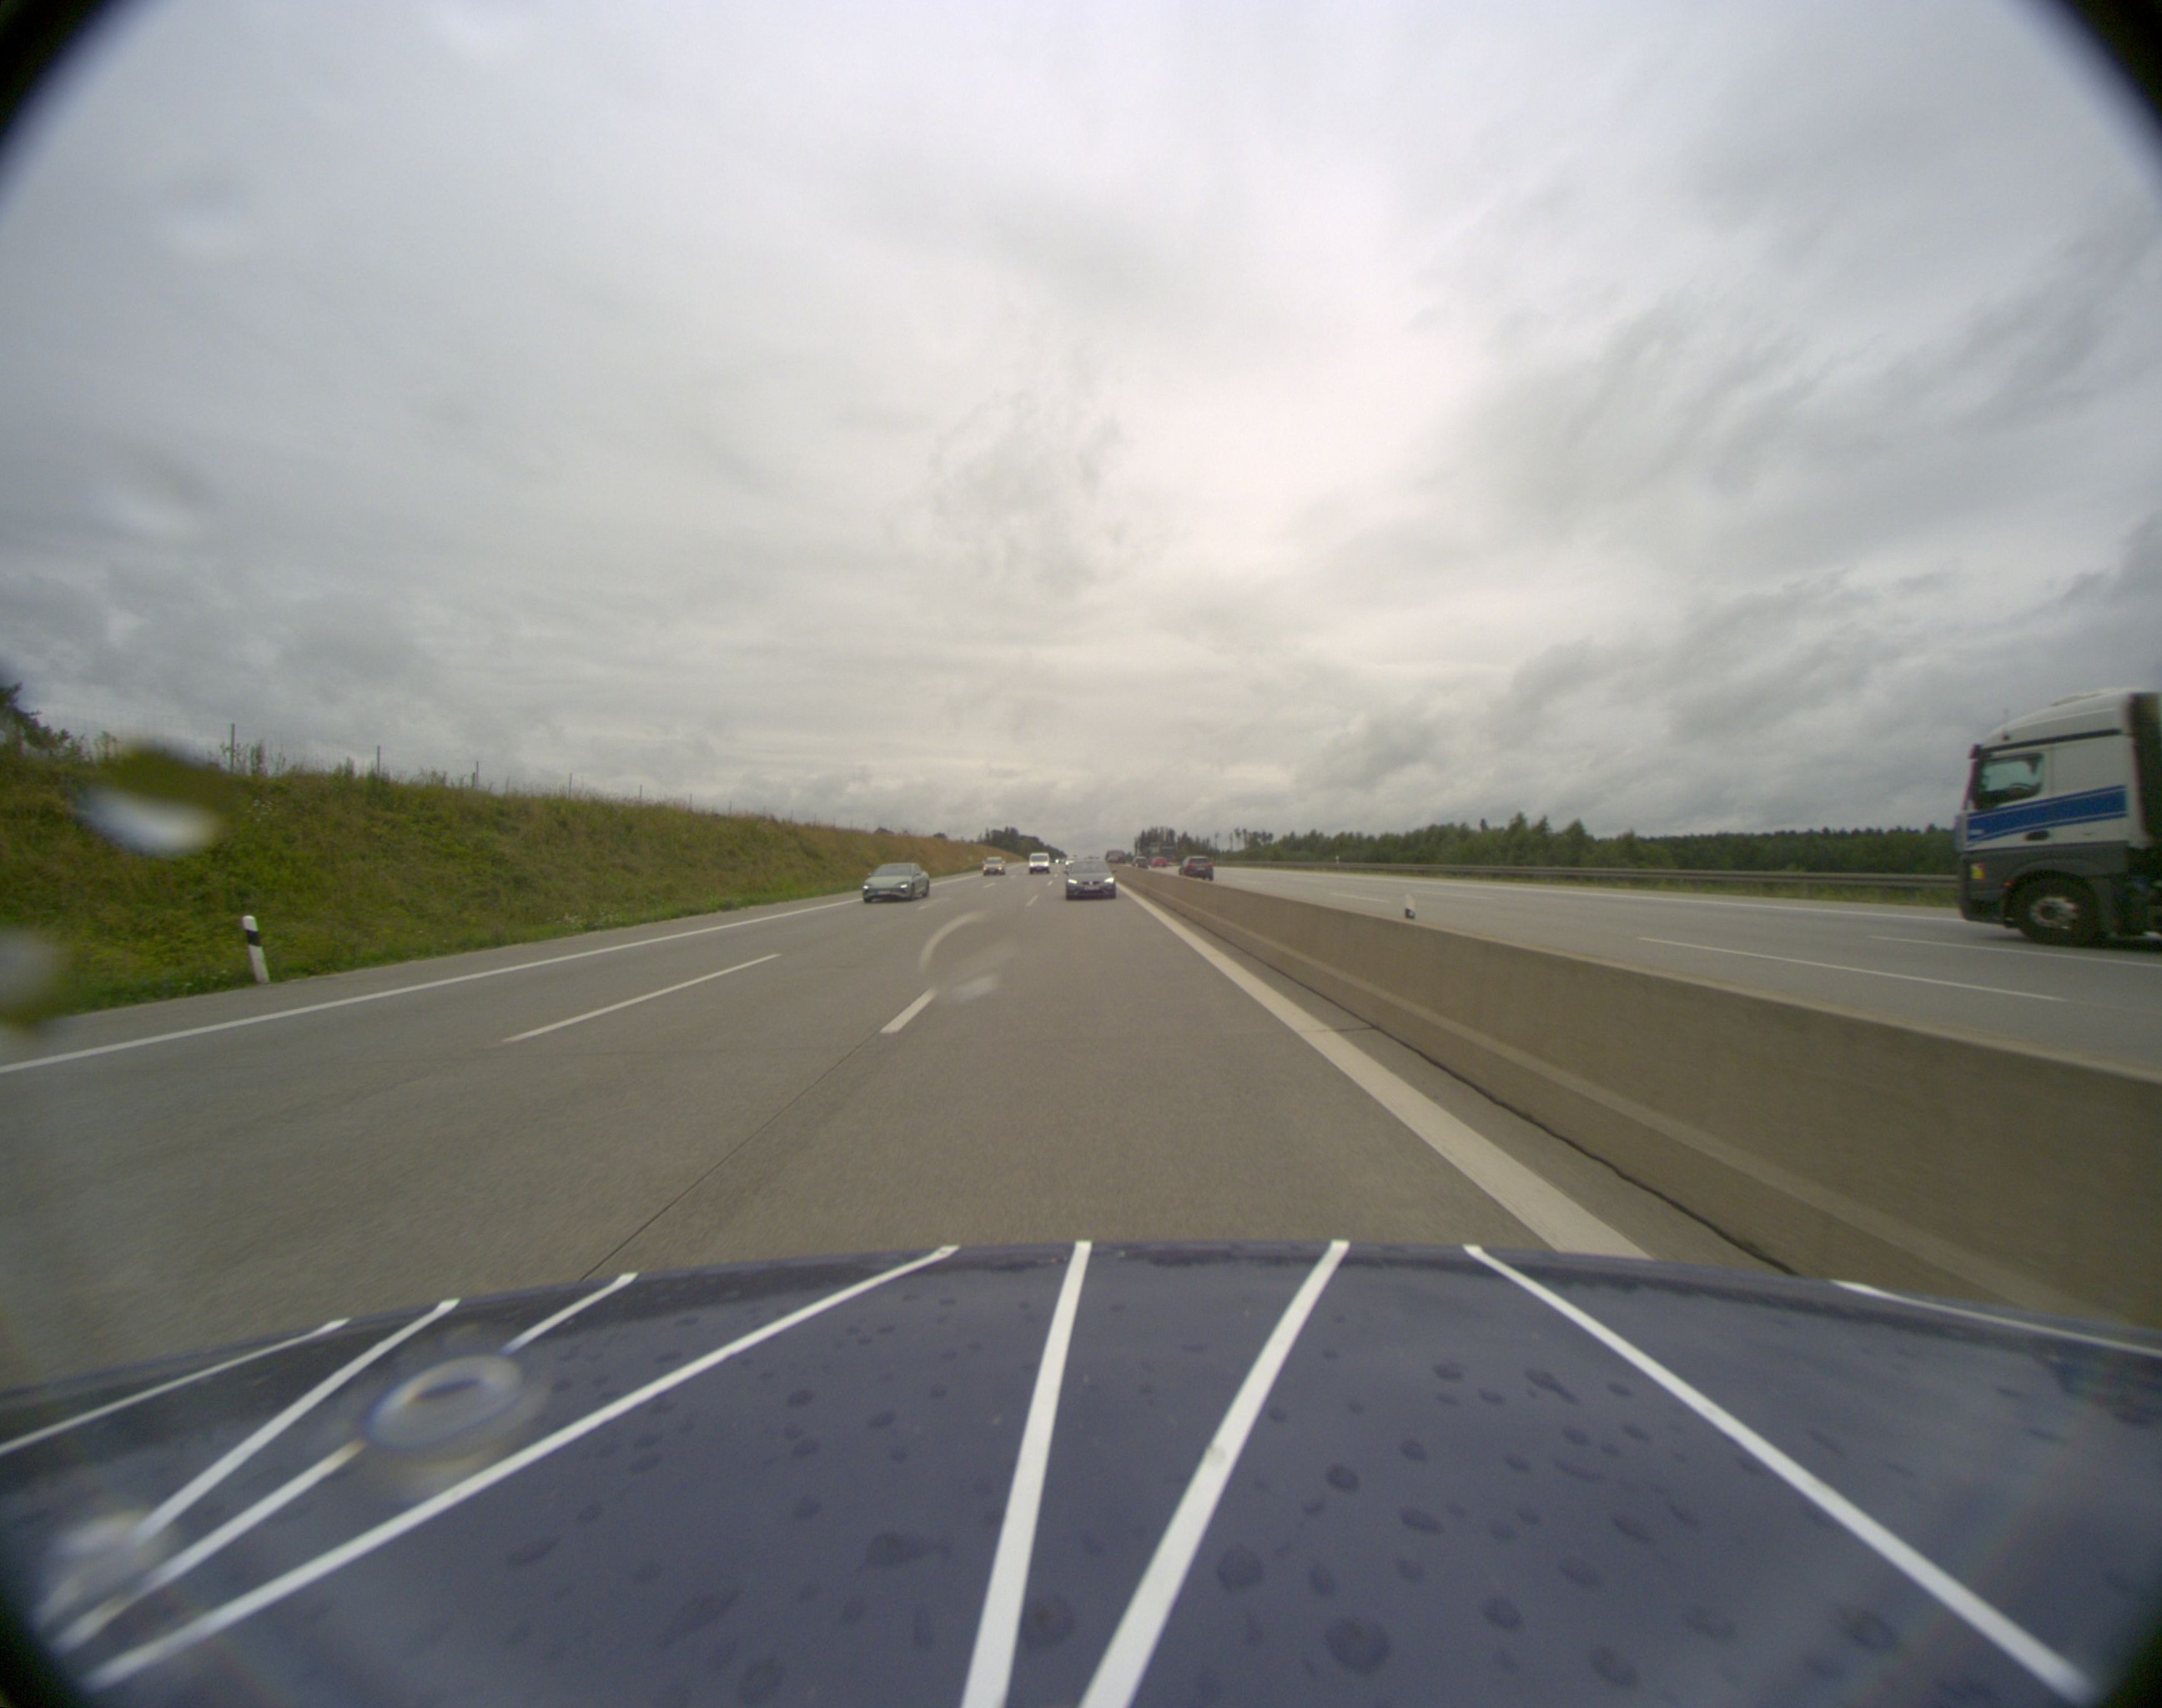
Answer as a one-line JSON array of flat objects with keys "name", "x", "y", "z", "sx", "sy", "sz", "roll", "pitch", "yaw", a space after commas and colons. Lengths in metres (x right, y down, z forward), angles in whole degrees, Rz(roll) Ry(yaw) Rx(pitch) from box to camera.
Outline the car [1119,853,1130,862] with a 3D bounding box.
[{"name": "car", "x": 9.533, "y": 0.796, "z": 167.283, "sx": 1.999, "sy": 1.962, "sz": 5.330, "roll": 1, "pitch": -1, "yaw": -1}]

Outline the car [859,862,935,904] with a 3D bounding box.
[{"name": "car", "x": -7.288, "y": 1.115, "z": 30.616, "sx": 2.020, "sy": 1.437, "sz": 4.744, "roll": -3, "pitch": -1, "yaw": -3}]

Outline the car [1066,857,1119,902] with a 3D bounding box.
[{"name": "car", "x": 0.468, "y": 0.872, "z": 28.032, "sx": 1.789, "sy": 1.472, "sz": 4.571, "roll": -1, "pitch": 0, "yaw": 2}]

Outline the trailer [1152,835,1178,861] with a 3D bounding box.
[{"name": "trailer", "x": 14.595, "y": -0.939, "z": 132.870, "sx": 2.772, "sy": 4.256, "sz": 12.167, "roll": -2, "pitch": -1, "yaw": -2}]

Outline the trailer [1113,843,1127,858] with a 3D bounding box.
[{"name": "trailer", "x": 11.481, "y": -0.986, "z": 223.390, "sx": 2.926, "sy": 4.192, "sz": 11.871, "roll": 1, "pitch": -1, "yaw": -2}]

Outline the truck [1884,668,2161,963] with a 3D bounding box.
[{"name": "truck", "x": 15.952, "y": -0.562, "z": 10.265, "sx": 2.754, "sy": 3.975, "sz": 6.929, "roll": -2, "pitch": 0, "yaw": -1}]

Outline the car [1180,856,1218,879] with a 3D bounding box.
[{"name": "car", "x": 7.909, "y": 0.873, "z": 51.228, "sx": 1.797, "sy": 1.408, "sz": 4.342, "roll": -2, "pitch": 0, "yaw": 0}]

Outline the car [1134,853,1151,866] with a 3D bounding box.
[{"name": "car", "x": 7.720, "y": 0.664, "z": 95.612, "sx": 1.726, "sy": 1.578, "sz": 4.971, "roll": 0, "pitch": -1, "yaw": -1}]

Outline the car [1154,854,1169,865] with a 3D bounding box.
[{"name": "car", "x": 11.295, "y": 0.726, "z": 106.608, "sx": 1.522, "sy": 1.499, "sz": 4.486, "roll": 0, "pitch": 1, "yaw": -1}]

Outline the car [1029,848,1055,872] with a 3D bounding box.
[{"name": "car", "x": -3.657, "y": 0.570, "z": 71.828, "sx": 2.043, "sy": 2.111, "sz": 6.069, "roll": 1, "pitch": -1, "yaw": 1}]

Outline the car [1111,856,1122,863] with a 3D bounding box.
[{"name": "car", "x": 6.721, "y": 1.078, "z": 143.748, "sx": 1.776, "sy": 1.349, "sz": 4.366, "roll": 1, "pitch": -1, "yaw": -2}]

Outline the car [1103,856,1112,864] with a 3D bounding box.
[{"name": "car", "x": 7.454, "y": 1.657, "z": 214.275, "sx": 1.919, "sy": 2.001, "sz": 5.924, "roll": 1, "pitch": -1, "yaw": -2}]

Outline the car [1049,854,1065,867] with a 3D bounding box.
[{"name": "car", "x": -3.238, "y": 0.825, "z": 100.912, "sx": 1.999, "sy": 1.632, "sz": 5.042, "roll": 1, "pitch": -1, "yaw": -2}]

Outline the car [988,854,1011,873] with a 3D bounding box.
[{"name": "car", "x": -7.526, "y": 0.887, "z": 70.403, "sx": 1.790, "sy": 1.595, "sz": 4.570, "roll": 1, "pitch": -1, "yaw": -2}]
